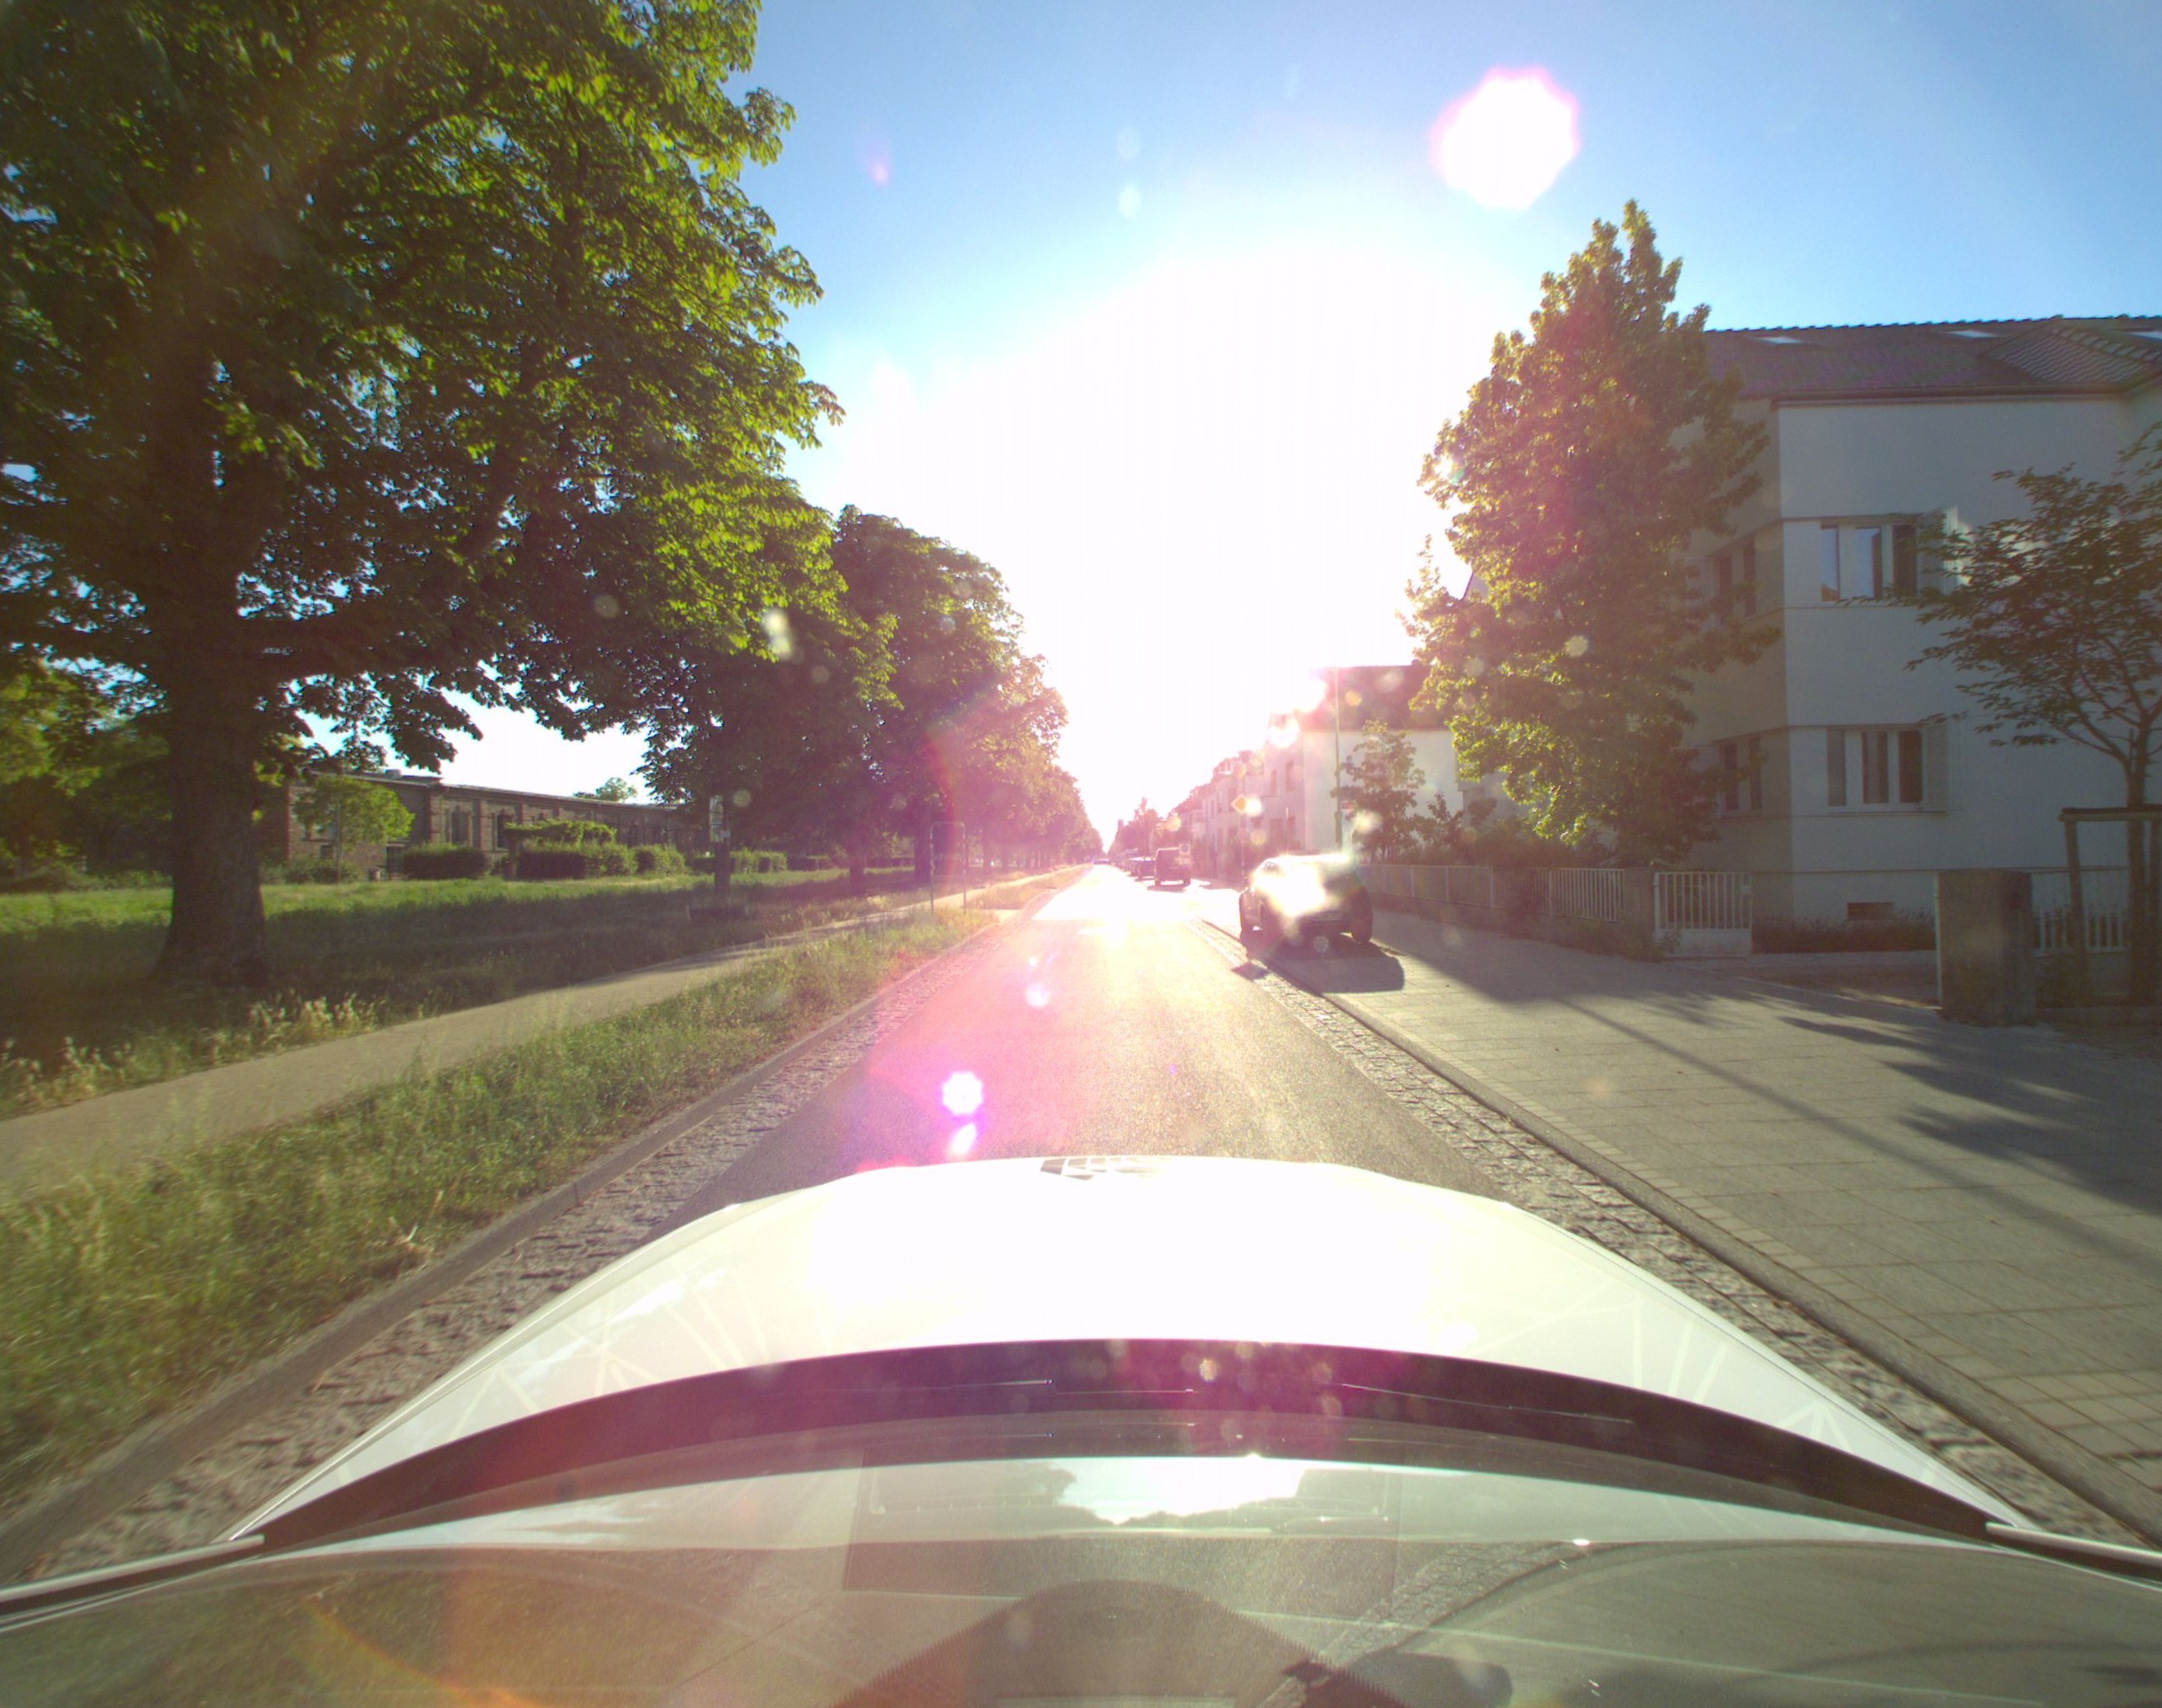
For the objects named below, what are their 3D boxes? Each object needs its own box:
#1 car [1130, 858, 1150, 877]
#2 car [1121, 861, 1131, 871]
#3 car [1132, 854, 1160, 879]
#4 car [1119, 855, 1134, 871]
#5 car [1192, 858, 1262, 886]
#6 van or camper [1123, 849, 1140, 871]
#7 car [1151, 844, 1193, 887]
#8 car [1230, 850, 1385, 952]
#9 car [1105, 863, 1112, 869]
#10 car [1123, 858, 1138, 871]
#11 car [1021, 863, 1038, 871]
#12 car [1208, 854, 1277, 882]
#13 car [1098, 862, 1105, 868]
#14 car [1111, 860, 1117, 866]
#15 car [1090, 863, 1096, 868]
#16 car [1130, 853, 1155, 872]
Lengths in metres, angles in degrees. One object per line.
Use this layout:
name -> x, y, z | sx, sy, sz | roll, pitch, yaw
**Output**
car -> 5.685, 1.269, 78.906 | 1.825, 1.685, 4.417 | 1, 0, 2
car -> 7.204, 1.905, 130.499 | 1.643, 1.530, 3.853 | -2, -1, 3
car -> 4.885, 0.930, 61.407 | 1.787, 1.771, 4.474 | -3, -1, 2
car -> 7.642, 1.521, 136.793 | 2.120, 2.533, 5.187 | -2, -1, 0
car -> 9.441, 1.189, 52.811 | 4.206, 1.726, 1.852 | -1, -1, -2
van or camper -> 6.572, 0.846, 106.339 | 1.936, 2.778, 5.941 | 1, -2, 2
car -> 4.943, 0.618, 44.719 | 1.898, 2.132, 4.817 | -3, -1, 3
car -> 3.912, 0.729, 14.780 | 1.787, 1.482, 4.126 | -3, 0, 3
car -> 8.187, 3.581, 242.772 | 1.856, 1.597, 3.894 | 0, 0, 1
car -> 6.041, 1.306, 100.055 | 1.657, 1.593, 4.087 | 1, -1, 2
car -> -13.275, 3.347, 209.846 | 4.342, 1.764, 1.995 | 1, -1, -7
car -> 10.774, 0.956, 54.459 | 4.206, 1.726, 1.852 | -1, -1, -2
car -> 5.850, 3.260, 235.258 | 1.856, 1.597, 3.870 | 1, -1, 1
car -> 9.014, 2.510, 224.408 | 1.643, 1.530, 3.853 | 2, -1, 3
car -> 3.605, 3.650, 250.933 | 1.643, 1.530, 3.853 | 2, -1, 3
car -> 5.504, 0.819, 73.045 | 1.713, 1.574, 4.207 | -3, -1, -2
